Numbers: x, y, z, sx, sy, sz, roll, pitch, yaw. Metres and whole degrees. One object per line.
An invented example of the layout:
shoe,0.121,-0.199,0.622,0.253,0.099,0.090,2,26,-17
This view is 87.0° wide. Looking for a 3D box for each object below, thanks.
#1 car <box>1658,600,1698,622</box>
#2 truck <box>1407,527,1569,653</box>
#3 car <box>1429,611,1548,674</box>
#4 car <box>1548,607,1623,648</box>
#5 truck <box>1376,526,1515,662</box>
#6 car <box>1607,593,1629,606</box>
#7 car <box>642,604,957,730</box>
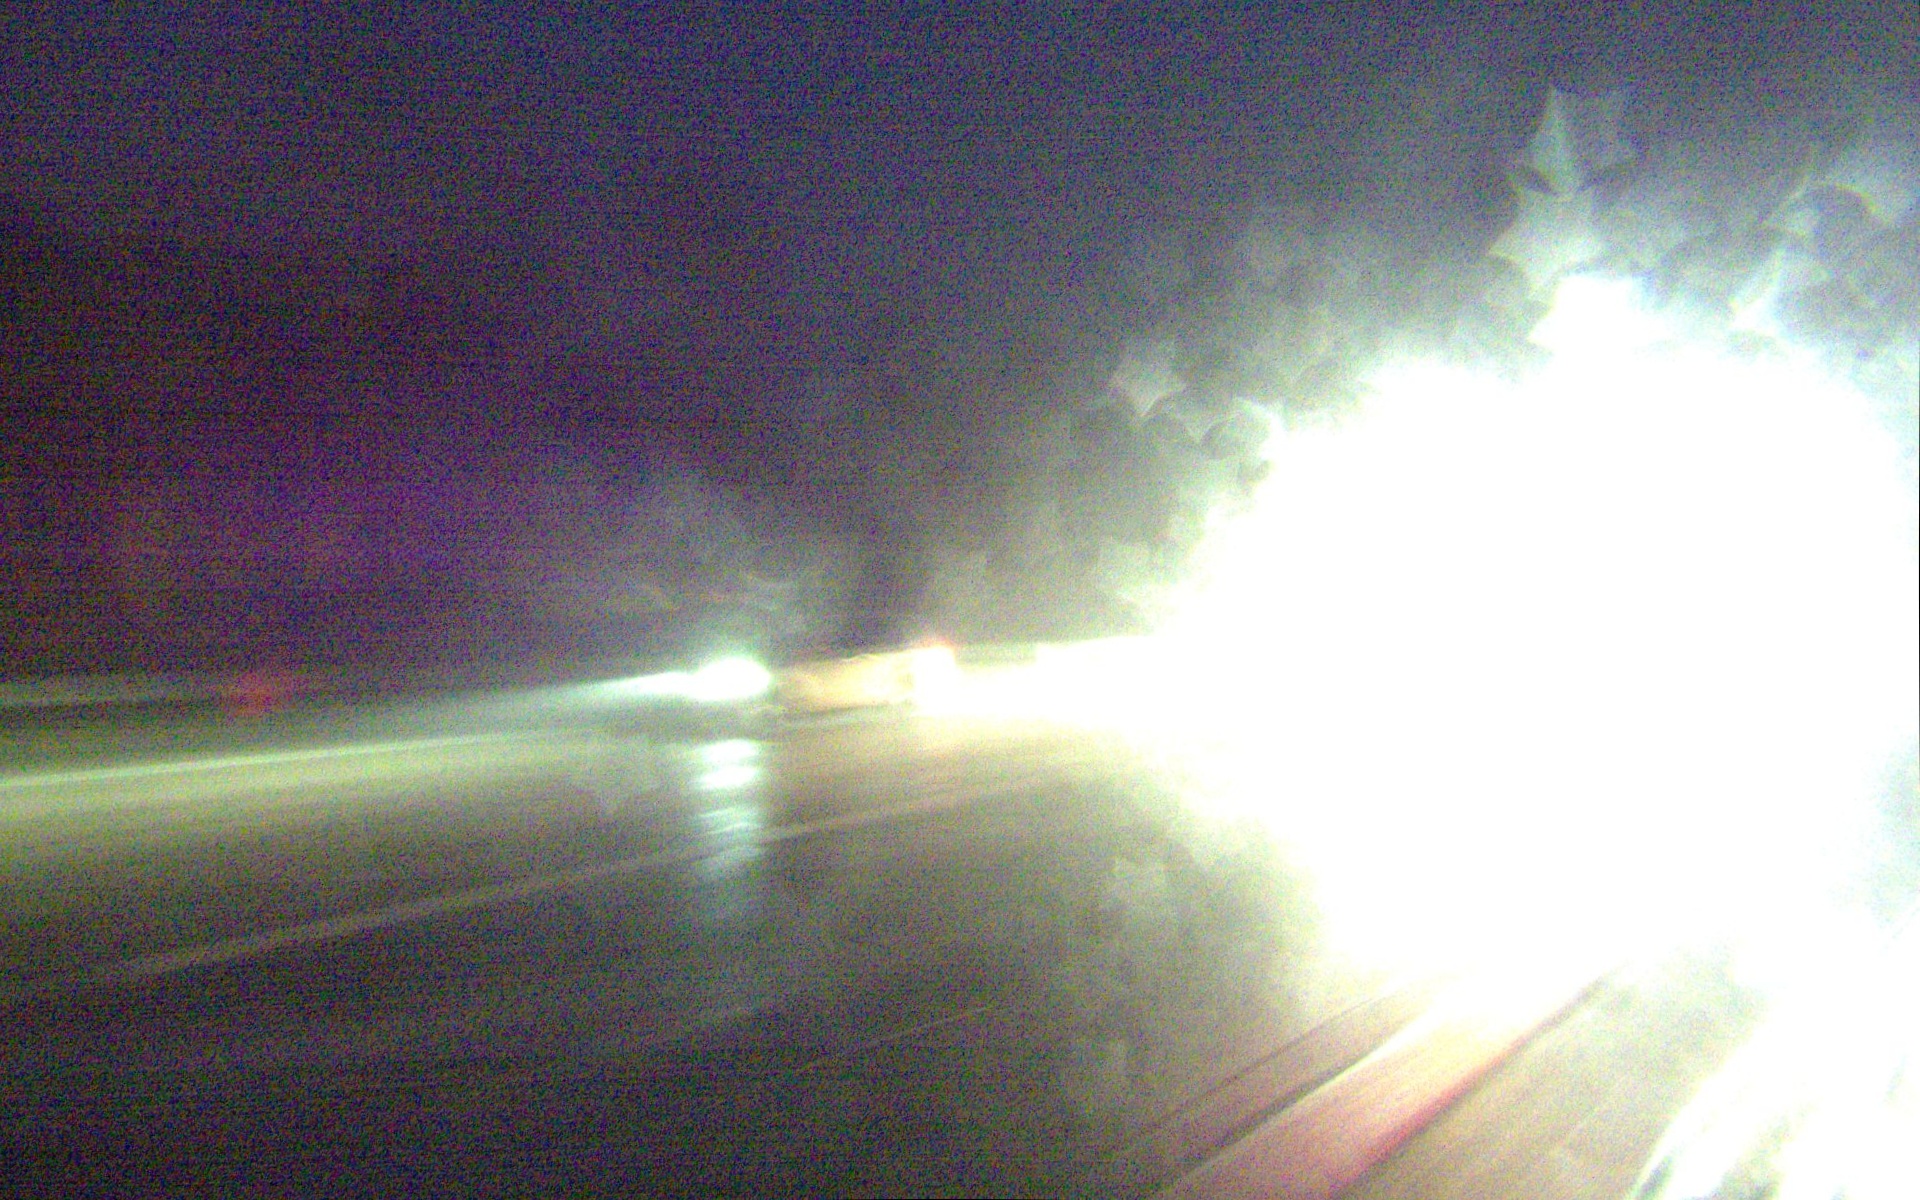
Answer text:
car,46.887,0.717,66.088,1.706,1.310,3.931,4,2,41
truck,21.663,-0.654,40.851,2.756,4.272,13.630,4,5,40
car,13.138,1.007,25.062,1.706,1.310,3.931,4,2,41
car,23.223,0.998,37.516,1.706,1.310,3.931,4,2,41
truck,17.053,-0.361,35.339,2.756,4.272,6.106,4,5,40
car,74.290,-0.009,114.218,1.704,1.310,3.937,4,2,37
car,-2.137,0.818,14.423,1.788,1.505,4.261,0,0,43
